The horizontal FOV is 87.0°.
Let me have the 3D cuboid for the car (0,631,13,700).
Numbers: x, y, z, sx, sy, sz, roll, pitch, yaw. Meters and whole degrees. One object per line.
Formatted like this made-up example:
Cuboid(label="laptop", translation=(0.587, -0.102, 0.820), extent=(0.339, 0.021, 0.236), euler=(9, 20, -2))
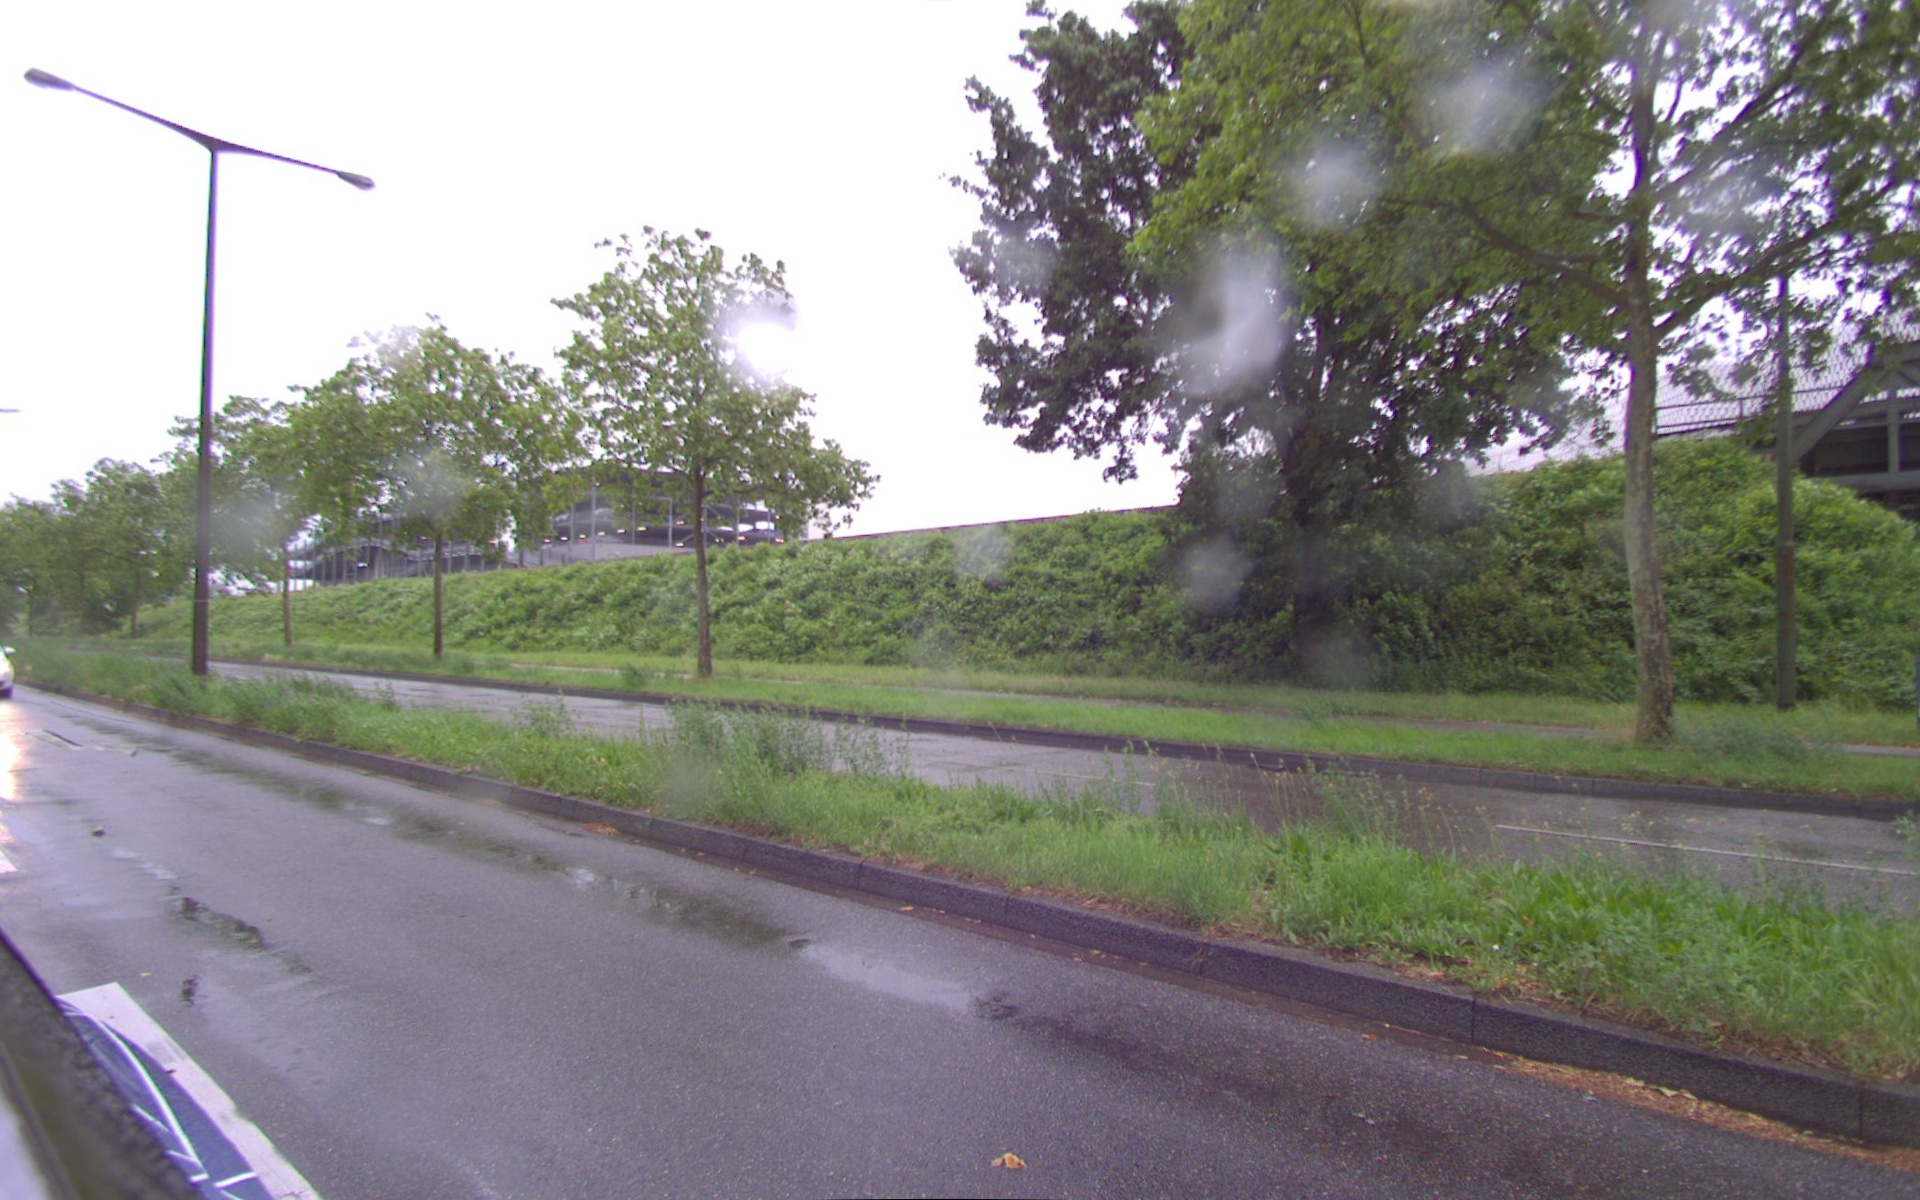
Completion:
Cuboid(label="car", translation=(-21.333, 1.379, 21.298), extent=(4.009, 1.387, 1.661), euler=(-2, -1, 41))
